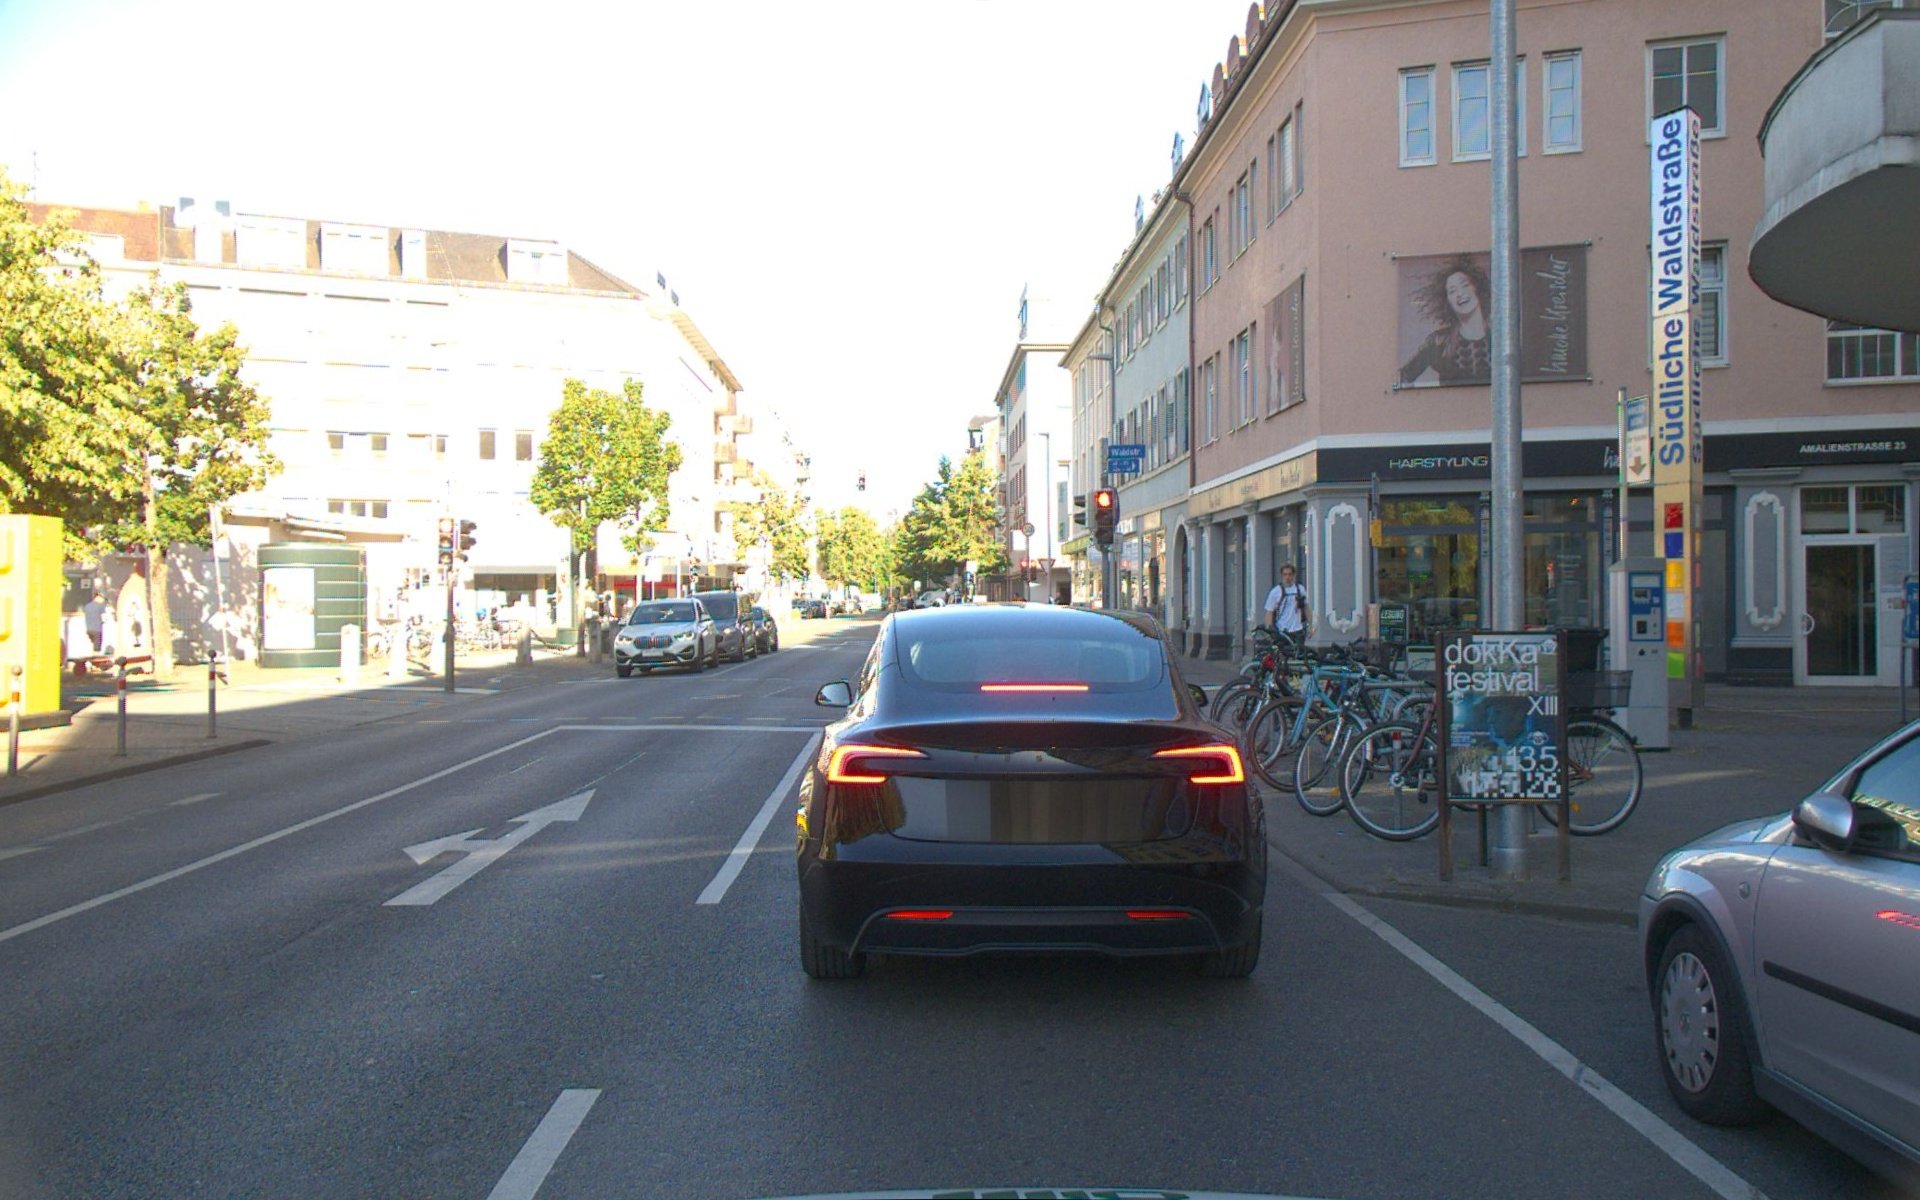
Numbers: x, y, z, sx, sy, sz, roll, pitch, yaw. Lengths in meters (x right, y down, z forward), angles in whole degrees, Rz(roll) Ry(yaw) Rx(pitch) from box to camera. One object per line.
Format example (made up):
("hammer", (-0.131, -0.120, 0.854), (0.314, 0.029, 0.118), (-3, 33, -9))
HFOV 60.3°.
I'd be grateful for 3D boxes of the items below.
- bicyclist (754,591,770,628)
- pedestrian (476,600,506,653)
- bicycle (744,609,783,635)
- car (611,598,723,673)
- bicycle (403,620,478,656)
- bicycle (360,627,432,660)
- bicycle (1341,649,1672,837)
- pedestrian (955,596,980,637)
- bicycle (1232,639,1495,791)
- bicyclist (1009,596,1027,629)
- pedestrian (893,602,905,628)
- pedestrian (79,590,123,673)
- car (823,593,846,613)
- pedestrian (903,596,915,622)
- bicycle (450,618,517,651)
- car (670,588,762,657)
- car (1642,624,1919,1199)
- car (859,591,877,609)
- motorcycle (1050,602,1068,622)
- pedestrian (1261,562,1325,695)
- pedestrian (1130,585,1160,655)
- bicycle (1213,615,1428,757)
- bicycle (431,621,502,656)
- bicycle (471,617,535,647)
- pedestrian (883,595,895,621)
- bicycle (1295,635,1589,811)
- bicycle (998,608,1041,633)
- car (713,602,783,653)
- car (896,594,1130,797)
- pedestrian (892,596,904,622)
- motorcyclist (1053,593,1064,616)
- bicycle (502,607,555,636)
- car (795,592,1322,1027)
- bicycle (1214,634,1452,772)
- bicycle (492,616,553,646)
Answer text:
("bicyclist", (-8.151, 0.380, 68.081), (0.516, 1.530, 0.472), (1, -1, -25))
("pedestrian", (-18.583, 1.048, 65.558), (1.041, 2.049, 1.049), (1, -1, -20))
("bicycle", (-8.092, 0.915, 68.109), (1.536, 1.030, 0.480), (1, -1, -25))
("car", (-6.313, 0.739, 36.028), (1.752, 1.485, 3.756), (-2, 0, -1))
("bicycle", (-14.129, 1.028, 44.984), (1.826, 0.950, 0.606), (1, 0, -2))
("bicycle", (-14.453, 1.109, 42.400), (1.612, 0.806, 0.606), (1, 0, -5))
("bicycle", (3.278, 0.860, 10.006), (1.833, 1.056, 0.353), (-2, -1, 6))
("pedestrian", (0.311, 0.683, 68.216), (0.742, 1.660, 0.951), (1, -1, -18))
("bicycle", (3.024, 0.859, 12.500), (1.834, 1.056, 0.533), (-2, -1, 3))
("bicyclist", (2.493, 0.532, 71.162), (0.659, 1.420, 0.460), (1, -1, -17))
("pedestrian", (-3.469, 0.862, 93.583), (0.516, 1.447, 0.474), (1, -1, -31))
("pedestrian", (-18.394, 0.671, 35.431), (0.465, 1.746, 0.711), (1, -1, 9))
("car", (-9.708, 0.218, 127.816), (1.673, 1.579, 3.692), (0, 0, -6))
("pedestrian", (-2.863, 0.505, 93.244), (0.516, 1.447, 0.474), (1, -1, -31))
("bicycle", (-14.275, 1.046, 49.577), (1.826, 0.950, 0.606), (1, 0, -2))
("car", (-6.182, 0.536, 42.266), (1.751, 1.675, 4.401), (0, 0, -1))
("car", (2.907, 0.780, 3.486), (1.515, 1.415, 3.476), (0, 0, 0))
("car", (-10.388, -0.018, 186.963), (1.953, 2.049, 3.999), (0, 0, -1))
("motorcycle", (5.433, 0.662, 90.726), (0.970, 1.105, 0.351), (0, 0, -38))
("pedestrian", (4.616, 0.387, 22.946), (0.735, 1.796, 0.837), (1, -1, 3))
("pedestrian", (4.710, 0.502, 42.111), (0.692, 1.773, 0.540), (0, 0, -1))
("bicycle", (3.200, 0.762, 14.793), (1.789, 1.189, 0.506), (-2, -1, 5))
("bicycle", (-14.039, 1.084, 47.107), (1.826, 0.950, 0.606), (1, 0, -2))
("bicycle", (-14.331, 1.003, 51.906), (1.826, 0.950, 0.606), (0, 0, -2))
("pedestrian", (-3.998, 0.449, 93.295), (0.467, 1.442, 0.516), (1, -1, -32))
("bicycle", (3.241, 0.823, 11.200), (1.834, 1.106, 0.414), (-2, -1, 3))
("bicycle", (2.558, 0.874, 71.191), (1.756, 1.024, 0.469), (1, -1, -17))
("car", (-6.427, 0.814, 50.443), (1.680, 1.471, 3.844), (1, 0, -1))
("car", (0.311, 0.682, 13.808), (1.683, 1.450, 3.755), (0, 0, -2))
("pedestrian", (-3.484, 0.506, 92.810), (0.516, 1.447, 0.474), (1, -1, -31))
("motorcyclist", (5.420, 0.256, 90.709), (0.486, 1.275, 0.351), (-1, 1, -37))
("bicycle", (-20.256, 1.025, 77.599), (2.334, 1.318, 0.509), (1, -1, -27))
("car", (0.308, 0.717, 7.601), (1.785, 1.467, 3.999), (0, 0, -1))
("bicycle", (3.057, 0.845, 13.670), (1.833, 1.056, 0.548), (-2, -1, 5))
("bicycle", (-14.367, 1.013, 54.354), (1.826, 0.950, 0.606), (0, 0, -2))
